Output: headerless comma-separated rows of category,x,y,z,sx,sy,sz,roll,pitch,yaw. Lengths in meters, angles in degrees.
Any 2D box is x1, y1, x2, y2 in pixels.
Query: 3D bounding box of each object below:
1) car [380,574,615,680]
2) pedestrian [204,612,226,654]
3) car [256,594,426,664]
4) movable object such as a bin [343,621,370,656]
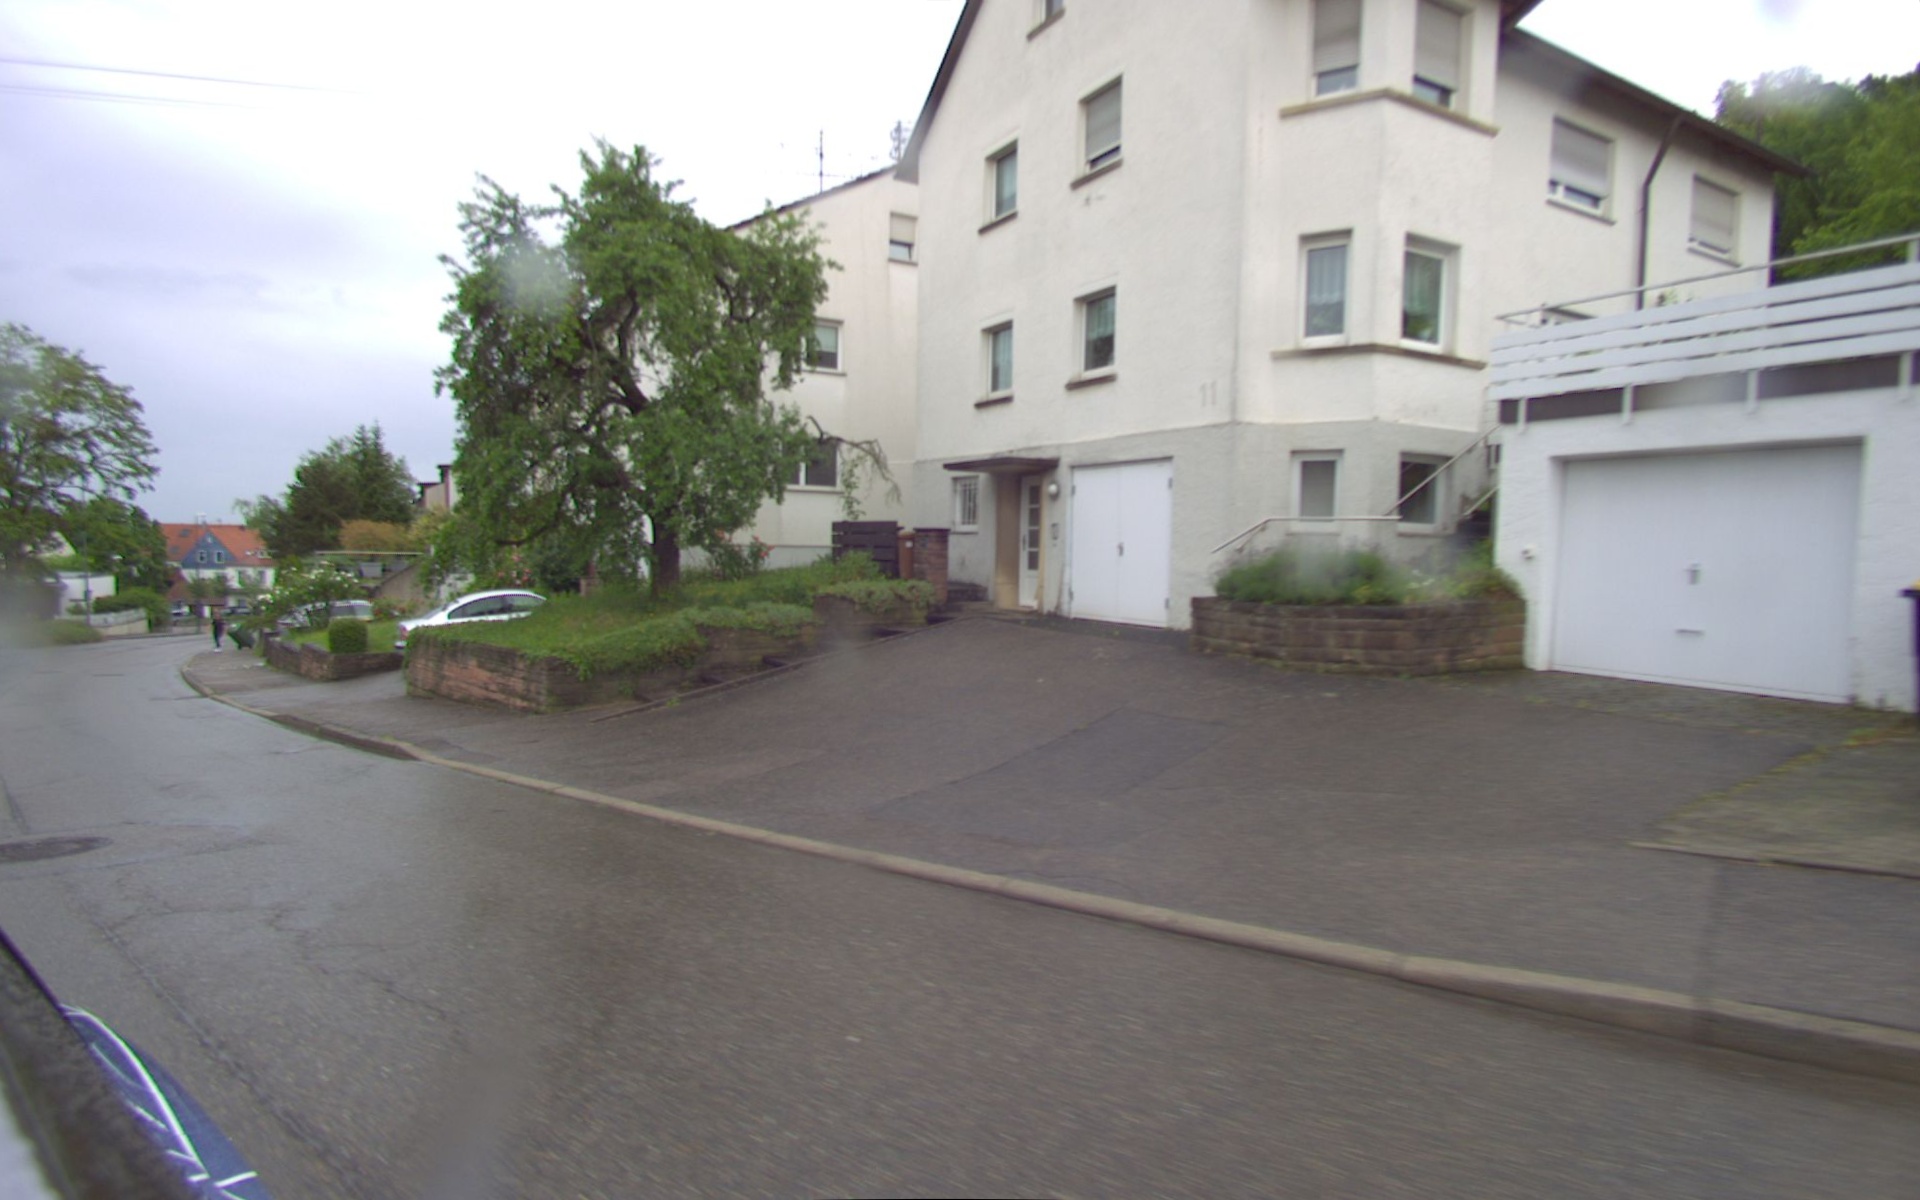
car,-9.798,0.501,21.536,4.197,1.441,1.771,-11,6,-31
pedestrian,-30.104,1.319,40.905,0.647,1.661,0.734,-1,-2,-40
car,-20.257,0.904,33.181,4.453,1.625,1.937,-9,5,-37
movable object such as a bin,-18.712,1.180,31.372,0.531,1.027,0.712,-7,3,-38
